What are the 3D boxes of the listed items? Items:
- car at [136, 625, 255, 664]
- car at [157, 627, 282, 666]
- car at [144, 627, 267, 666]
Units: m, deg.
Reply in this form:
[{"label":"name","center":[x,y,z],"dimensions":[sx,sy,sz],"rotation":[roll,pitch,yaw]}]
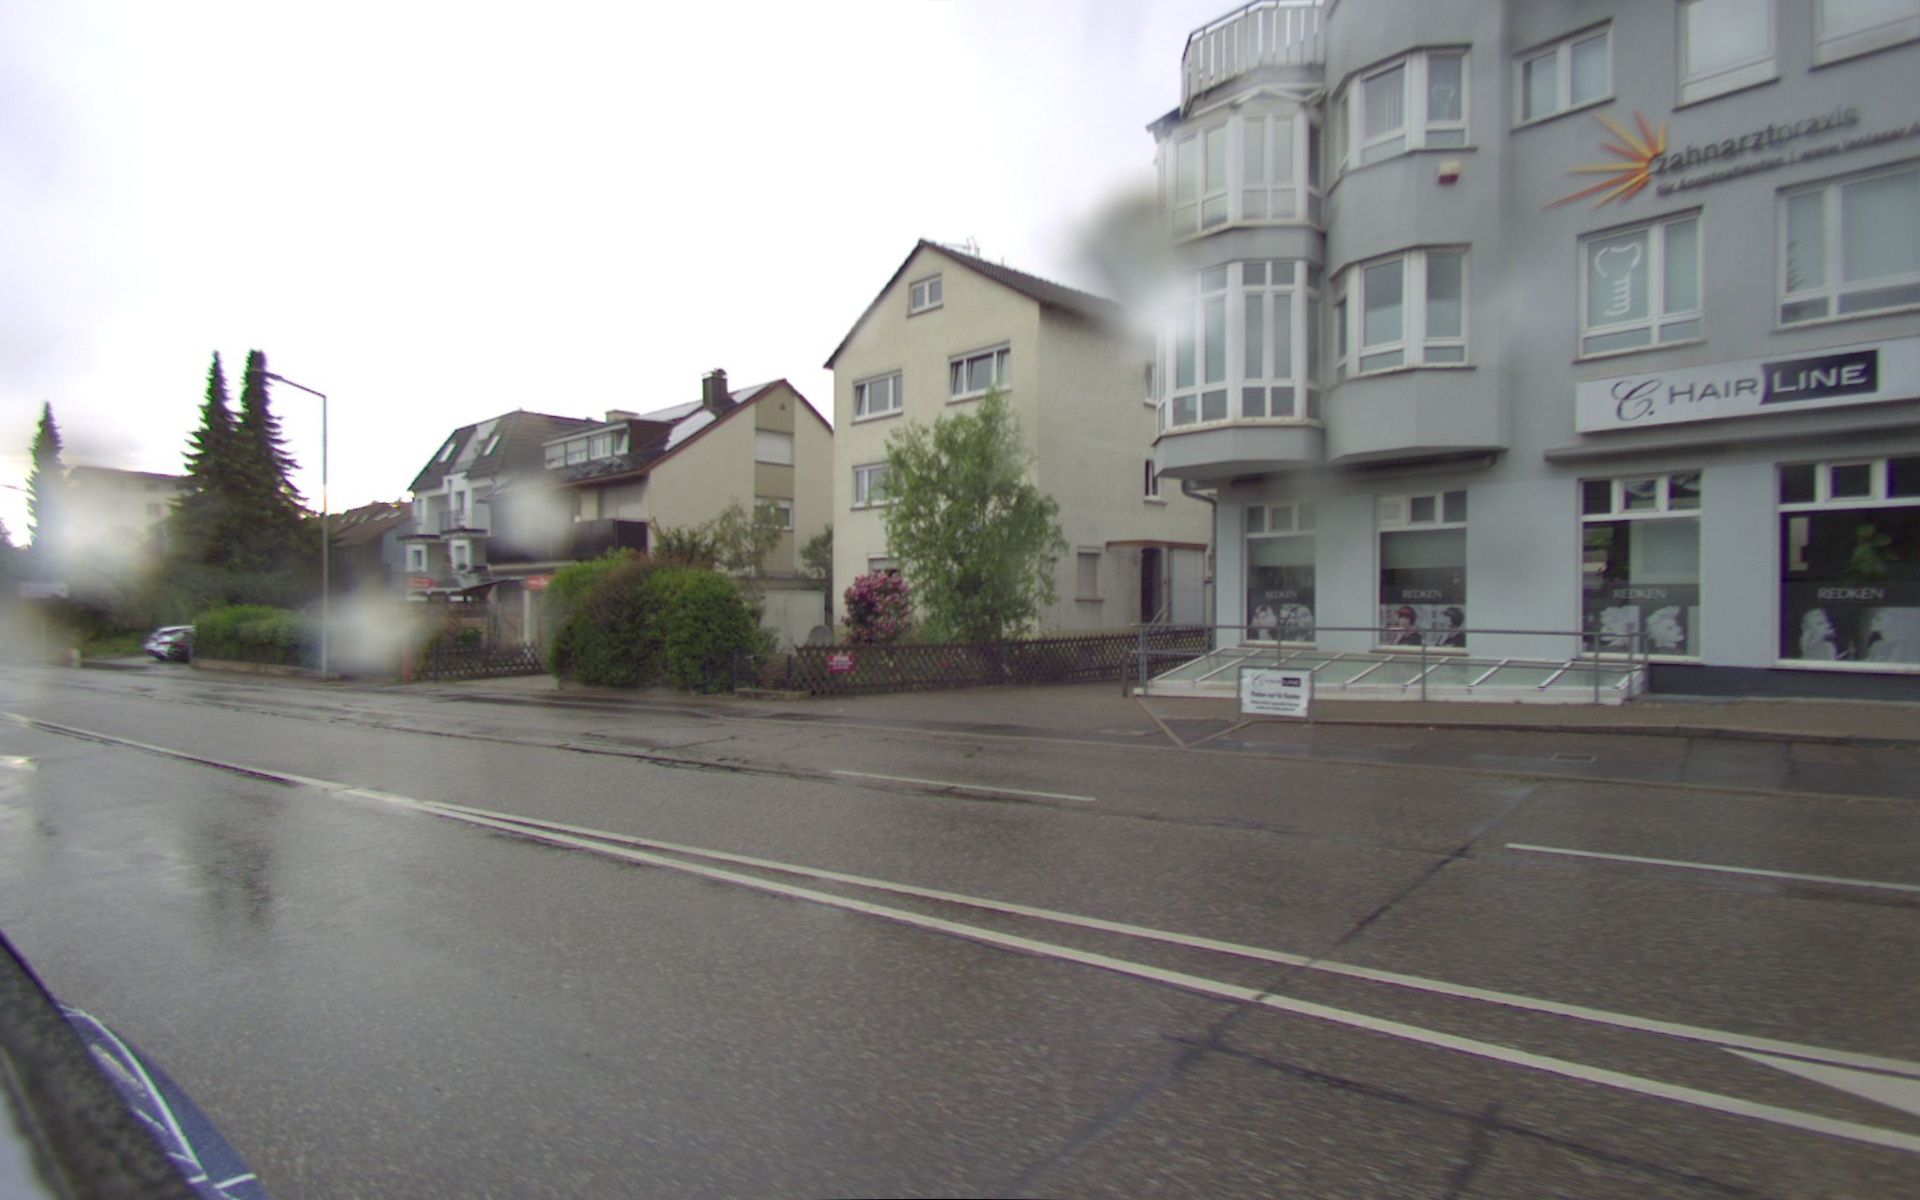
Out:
[{"label":"car","center":[-35.196,2.009,46.639],"dimensions":[2.000,1.557,4.061],"rotation":[-2,0,42]},{"label":"car","center":[-31.405,1.942,42.989],"dimensions":[1.812,1.453,3.982],"rotation":[-2,0,42]},{"label":"car","center":[-33.271,2.014,44.683],"dimensions":[1.891,1.453,4.100],"rotation":[-2,0,44]}]
